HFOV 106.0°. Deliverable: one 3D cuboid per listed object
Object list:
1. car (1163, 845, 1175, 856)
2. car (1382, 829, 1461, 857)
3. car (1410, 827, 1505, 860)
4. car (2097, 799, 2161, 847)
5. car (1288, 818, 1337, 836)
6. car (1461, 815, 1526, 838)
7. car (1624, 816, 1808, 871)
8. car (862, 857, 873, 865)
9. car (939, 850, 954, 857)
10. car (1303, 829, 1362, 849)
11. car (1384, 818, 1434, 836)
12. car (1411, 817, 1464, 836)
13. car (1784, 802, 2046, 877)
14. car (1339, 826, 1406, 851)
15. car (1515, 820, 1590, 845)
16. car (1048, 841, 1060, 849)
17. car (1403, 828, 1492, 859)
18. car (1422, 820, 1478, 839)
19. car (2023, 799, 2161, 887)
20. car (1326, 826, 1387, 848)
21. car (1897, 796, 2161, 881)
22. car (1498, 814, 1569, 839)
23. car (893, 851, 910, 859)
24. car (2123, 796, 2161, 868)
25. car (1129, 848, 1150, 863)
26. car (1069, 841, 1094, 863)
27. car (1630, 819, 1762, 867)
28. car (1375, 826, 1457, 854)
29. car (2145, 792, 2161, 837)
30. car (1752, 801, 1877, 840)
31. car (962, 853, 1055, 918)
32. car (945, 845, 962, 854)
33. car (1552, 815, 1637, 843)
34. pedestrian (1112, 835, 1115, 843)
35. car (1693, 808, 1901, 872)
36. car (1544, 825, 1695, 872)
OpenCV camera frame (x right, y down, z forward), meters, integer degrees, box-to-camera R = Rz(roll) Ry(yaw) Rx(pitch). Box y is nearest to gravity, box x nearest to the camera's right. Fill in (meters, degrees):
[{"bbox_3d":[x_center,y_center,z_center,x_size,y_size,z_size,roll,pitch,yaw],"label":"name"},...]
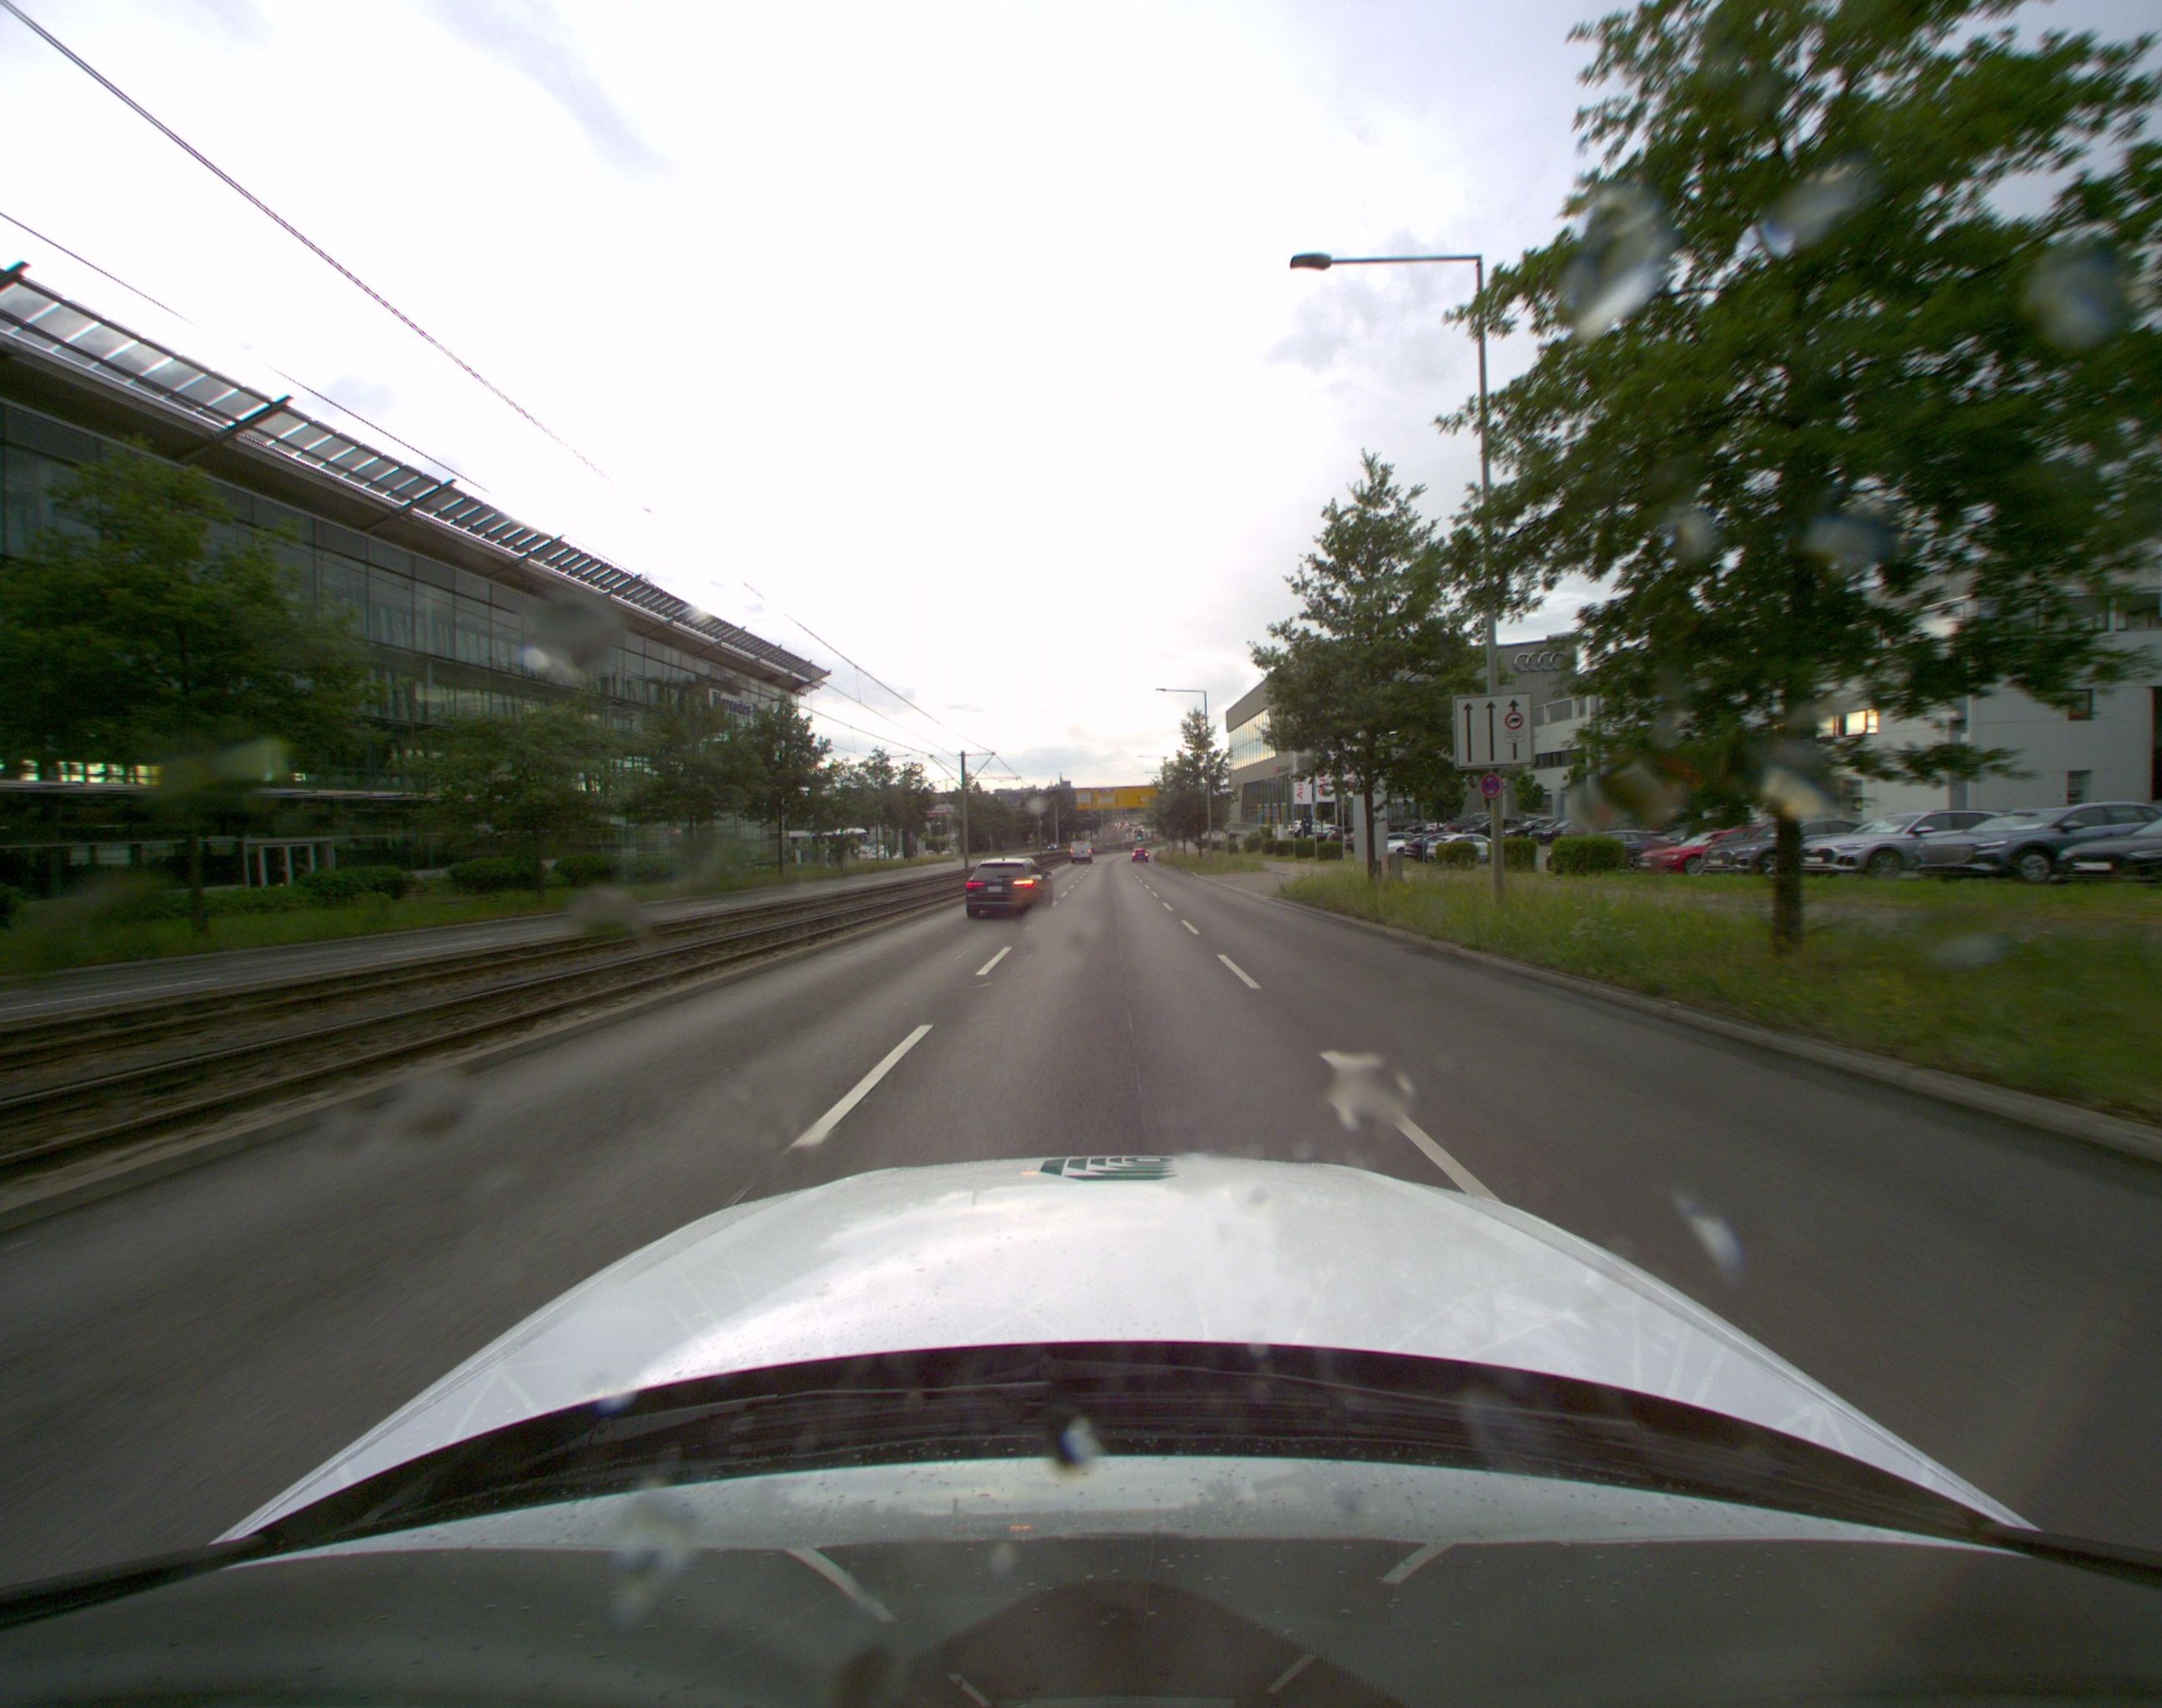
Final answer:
[{"bbox_3d":[16.073,-0.725,148.900,2.011,1.769,4.008,-1,3,6],"label":"car"},{"bbox_3d":[20.662,-0.674,49.544,4.091,1.594,1.692,-1,-1,0],"label":"car"},{"bbox_3d":[19.655,-0.515,42.658,4.101,1.594,1.944,-1,-1,-7],"label":"car"},{"bbox_3d":[38.513,-1.150,28.437,1.778,1.593,3.527,-4,1,-30],"label":"car"},{"bbox_3d":[22.134,-2.567,77.877,4.245,1.574,1.693,-1,1,0],"label":"car"},{"bbox_3d":[31.437,-2.069,62.087,4.091,1.574,1.693,-2,1,0],"label":"car"},{"bbox_3d":[20.264,-0.315,26.110,4.451,1.551,1.929,-2,0,-3],"label":"car"},{"bbox_3d":[-39.795,1.343,151.647,1.757,1.494,3.974,0,0,-19],"label":"car"},{"bbox_3d":[-26.055,-0.089,158.200,2.002,1.510,3.969,0,0,-24],"label":"car"},{"bbox_3d":[20.853,-1.245,67.690,4.405,1.574,1.693,-1,1,0],"label":"car"},{"bbox_3d":[31.383,-2.575,77.961,4.091,1.574,1.693,-1,1,0],"label":"car"},{"bbox_3d":[32.335,-2.502,73.974,4.091,1.574,1.760,-1,1,0],"label":"car"},{"bbox_3d":[20.489,-0.344,20.159,4.446,1.551,1.931,-3,0,0],"label":"car"},{"bbox_3d":[20.542,-1.099,57.478,4.091,1.608,1.693,-1,1,0],"label":"car"},{"bbox_3d":[32.005,-1.444,55.348,4.091,1.574,1.693,-2,1,0],"label":"car"},{"bbox_3d":[-5.473,-1.853,166.527,1.874,1.520,4.409,-5,1,4],"label":"car"},{"bbox_3d":[20.260,-0.566,45.136,4.091,1.594,1.871,-1,0,0],"label":"car"},{"bbox_3d":[31.779,-2.109,70.182,4.091,1.574,1.693,-1,1,0],"label":"car"},{"bbox_3d":[20.018,-0.297,14.382,4.446,1.456,1.931,-3,0,0],"label":"car"},{"bbox_3d":[21.075,-1.277,62.373,4.091,1.574,1.693,-1,1,0],"label":"car"},{"bbox_3d":[20.433,-0.337,17.177,4.446,1.528,1.931,-3,0,0],"label":"car"},{"bbox_3d":[31.784,-1.920,57.273,4.091,1.574,1.693,-2,0,0],"label":"car"},{"bbox_3d":[-34.211,0.143,155.064,2.006,1.510,3.962,0,0,-30],"label":"car"},{"bbox_3d":[25.611,-0.553,17.404,4.261,1.551,1.827,-2,0,1],"label":"car"},{"bbox_3d":[6.453,0.198,89.784,2.015,1.623,3.999,0,0,0],"label":"car"},{"bbox_3d":[0.078,-0.219,84.911,2.503,2.177,5.148,0,0,0],"label":"car"},{"bbox_3d":[23.205,-0.385,30.865,1.778,1.593,3.527,-4,1,-30],"label":"car"},{"bbox_3d":[21.319,-0.867,51.889,4.504,1.594,1.692,-2,-1,0],"label":"car"},{"bbox_3d":[41.264,-1.528,29.232,1.778,1.593,3.527,-4,1,-30],"label":"car"},{"bbox_3d":[37.804,-1.708,42.081,4.505,1.855,2.003,-1,0,5],"label":"car"},{"bbox_3d":[-1.749,0.716,21.076,1.757,1.463,4.630,0,0,3],"label":"car"},{"bbox_3d":[-22.347,-0.793,143.069,1.983,1.650,4.008,0,0,7],"label":"car"},{"bbox_3d":[31.287,-1.514,49.678,4.091,1.574,1.692,-1,-1,0],"label":"car"},{"bbox_3d":[7.758,-3.603,194.191,0.632,1.854,0.753,0,-1,13],"label":"pedestrian"},{"bbox_3d":[20.082,-0.372,22.979,4.264,1.593,1.826,-2,0,-1],"label":"car"},{"bbox_3d":[20.025,-0.170,30.480,1.843,1.593,4.319,-2,0,-29],"label":"car"}]
